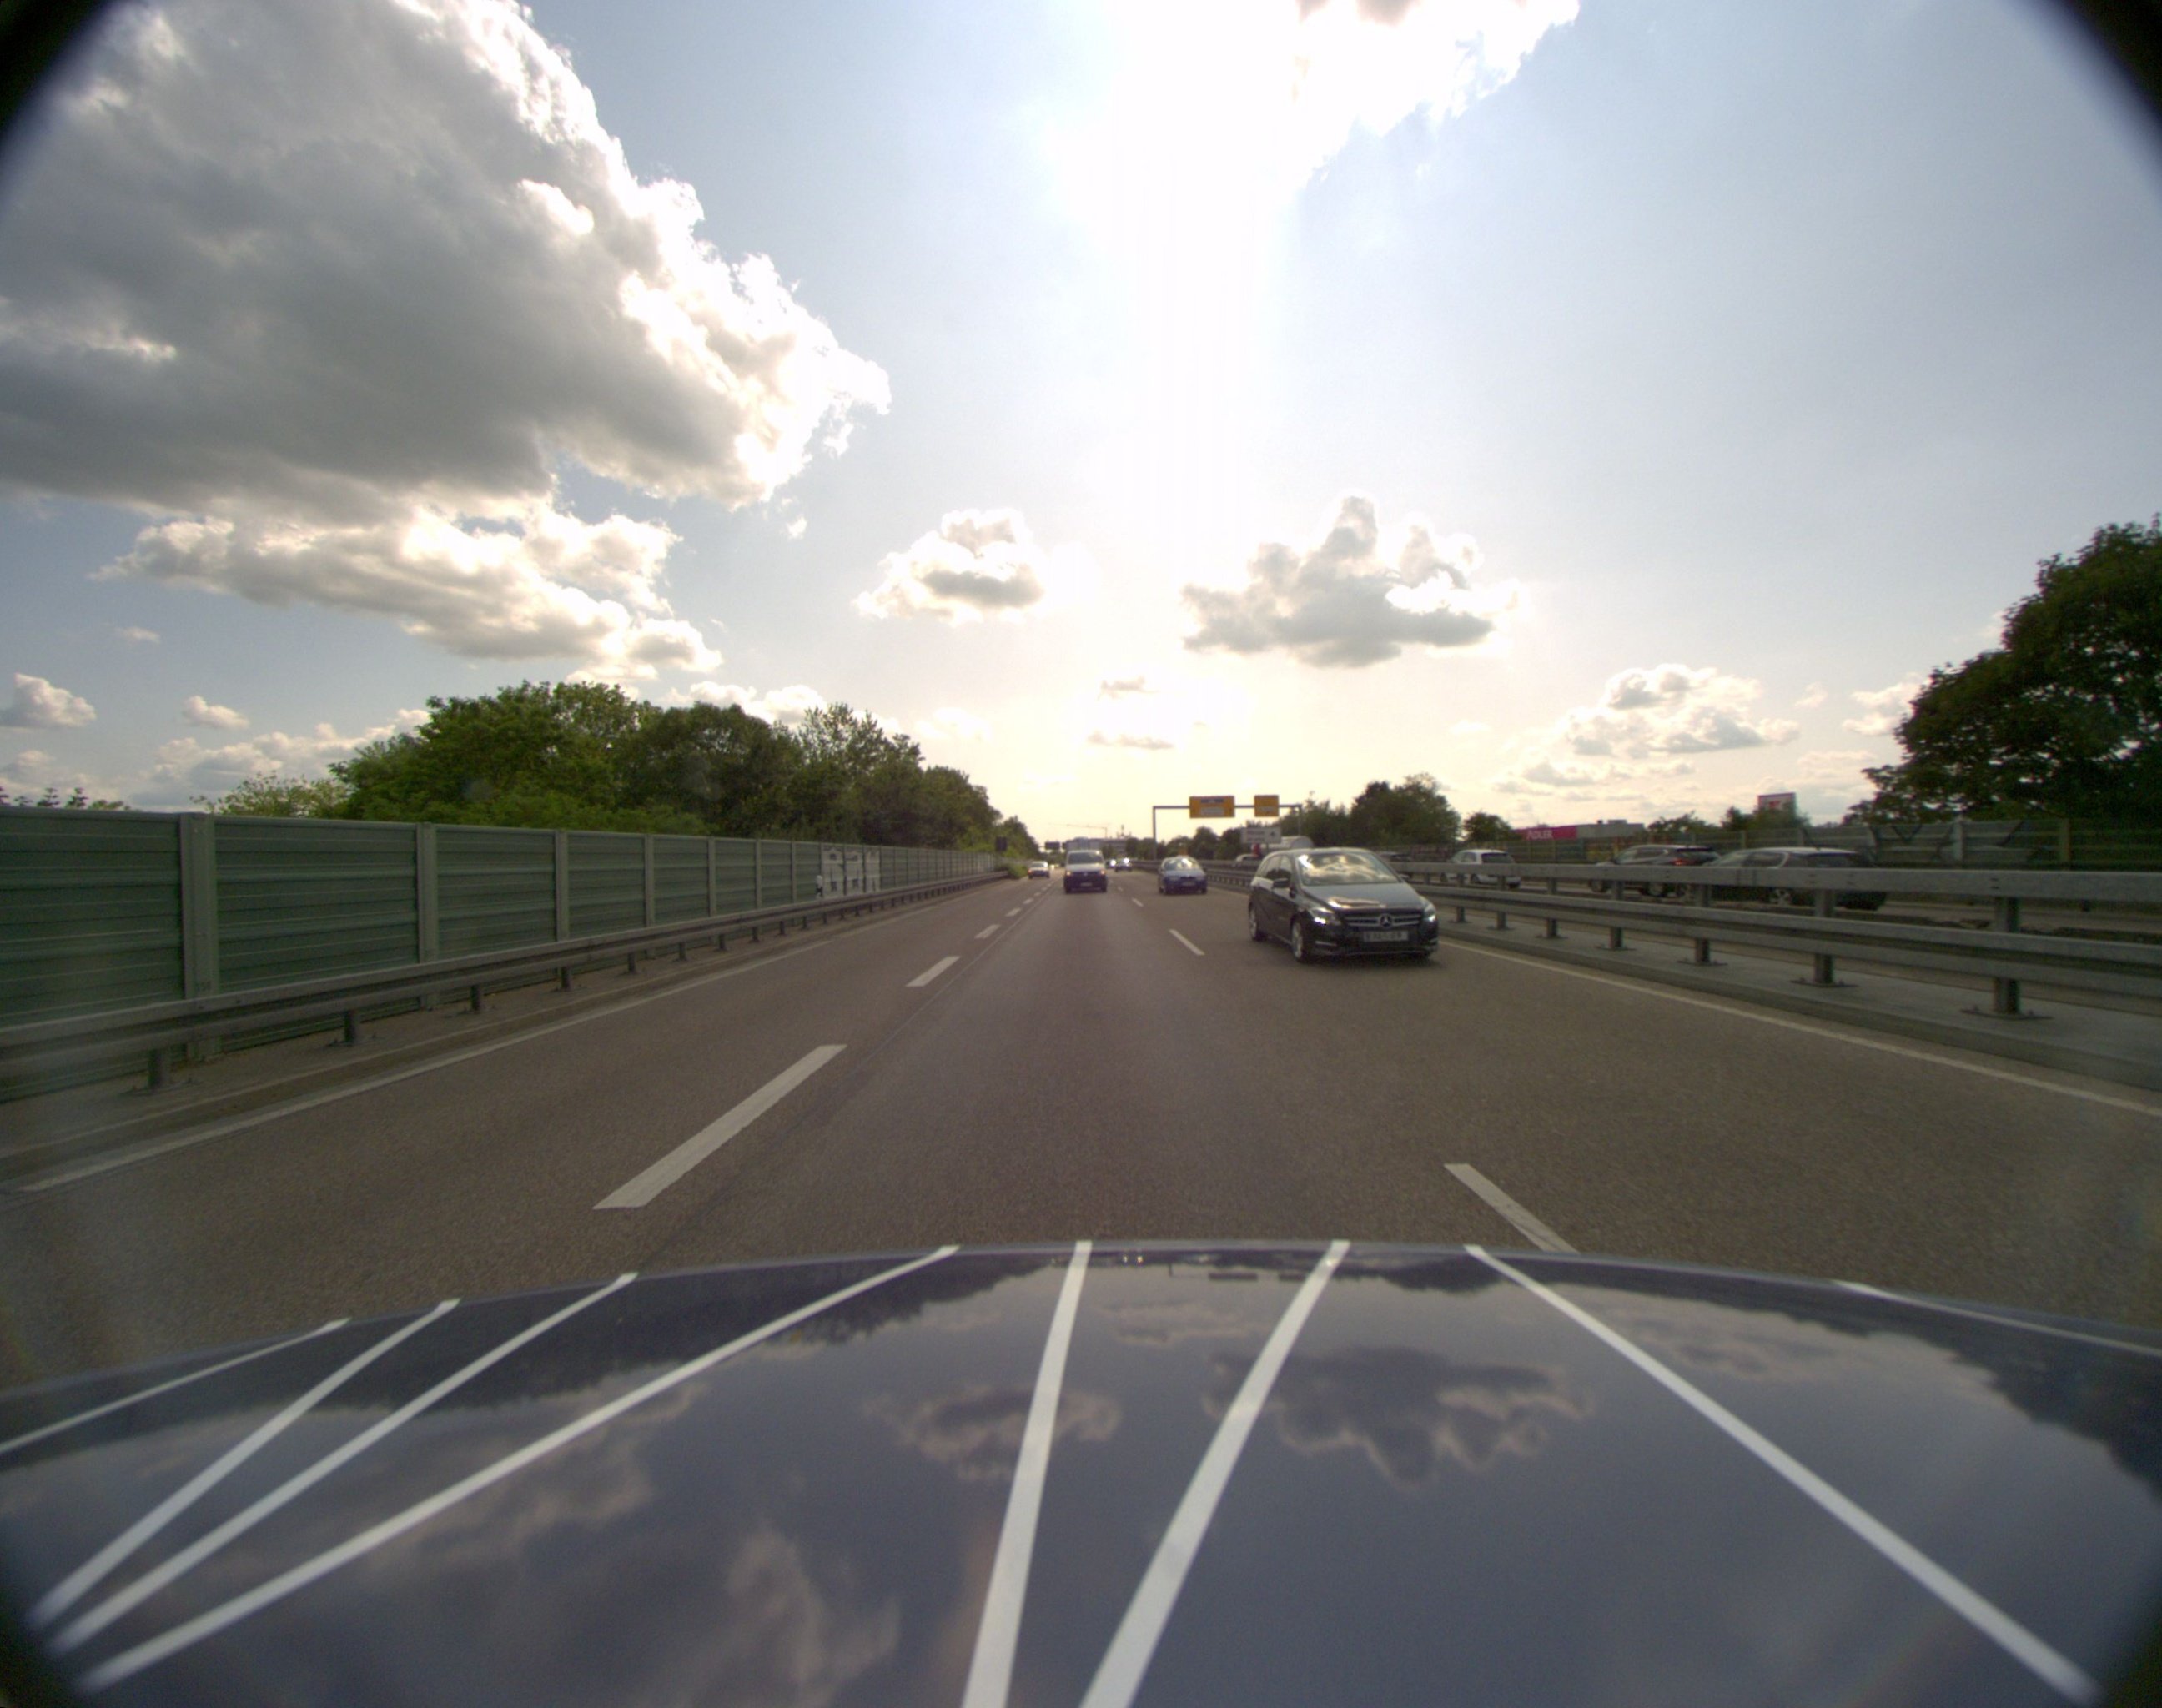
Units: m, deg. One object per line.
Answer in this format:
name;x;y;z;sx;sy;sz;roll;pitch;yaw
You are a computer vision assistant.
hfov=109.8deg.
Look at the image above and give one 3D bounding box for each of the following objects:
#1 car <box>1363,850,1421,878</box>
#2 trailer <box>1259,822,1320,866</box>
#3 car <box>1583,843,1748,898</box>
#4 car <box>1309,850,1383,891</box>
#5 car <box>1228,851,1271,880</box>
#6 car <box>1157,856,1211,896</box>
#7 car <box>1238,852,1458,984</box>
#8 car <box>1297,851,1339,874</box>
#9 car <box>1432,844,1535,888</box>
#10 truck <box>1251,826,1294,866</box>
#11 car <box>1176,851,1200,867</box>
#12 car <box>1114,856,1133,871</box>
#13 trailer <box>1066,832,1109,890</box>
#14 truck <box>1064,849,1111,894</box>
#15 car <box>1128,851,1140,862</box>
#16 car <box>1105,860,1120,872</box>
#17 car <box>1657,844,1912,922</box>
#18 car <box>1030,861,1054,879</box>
car;18.627;0.560;45.711;1.719;1.610;4.281;0;0;0
trailer;19.196;-0.895;70.678;2.691;3.648;11.028;-3;0;1
car;18.551;0.492;24.411;1.929;1.565;4.282;-2;0;-1
car;11.452;0.717;33.089;1.732;1.613;3.741;-3;-1;-1
car;11.810;0.781;53.610;1.998;1.846;4.238;-3;0;0
car;4.071;0.834;30.547;1.625;1.403;3.771;-3;0;1
car;3.718;0.769;11.520;1.716;1.518;4.592;-3;0;1
car;17.178;0.607;55.192;1.787;1.500;3.959;-3;0;0
car;15.814;0.432;30.101;1.929;1.565;3.886;-3;0;-1
truck;19.271;-0.773;76.739;2.655;3.760;6.232;-3;1;0
car;13.061;0.587;92.811;1.999;1.740;4.595;-3;0;-3
car;4.680;1.067;83.988;1.779;1.518;4.464;-3;0;1
trailer;0.304;0.326;40.313;1.998;2.723;5.966;-3;0;0
truck;0.304;0.760;35.296;2.008;1.905;4.000;-2;0;0
car;12.089;0.541;173.484;2.085;1.978;5.225;-3;3;-1
car;4.573;1.682;110.366;1.895;1.518;4.464;-3;0;1
car;15.938;0.576;17.598;1.929;1.565;4.244;0;0;-1
car;-3.344;1.375;65.647;1.768;1.403;3.771;-3;0;1
